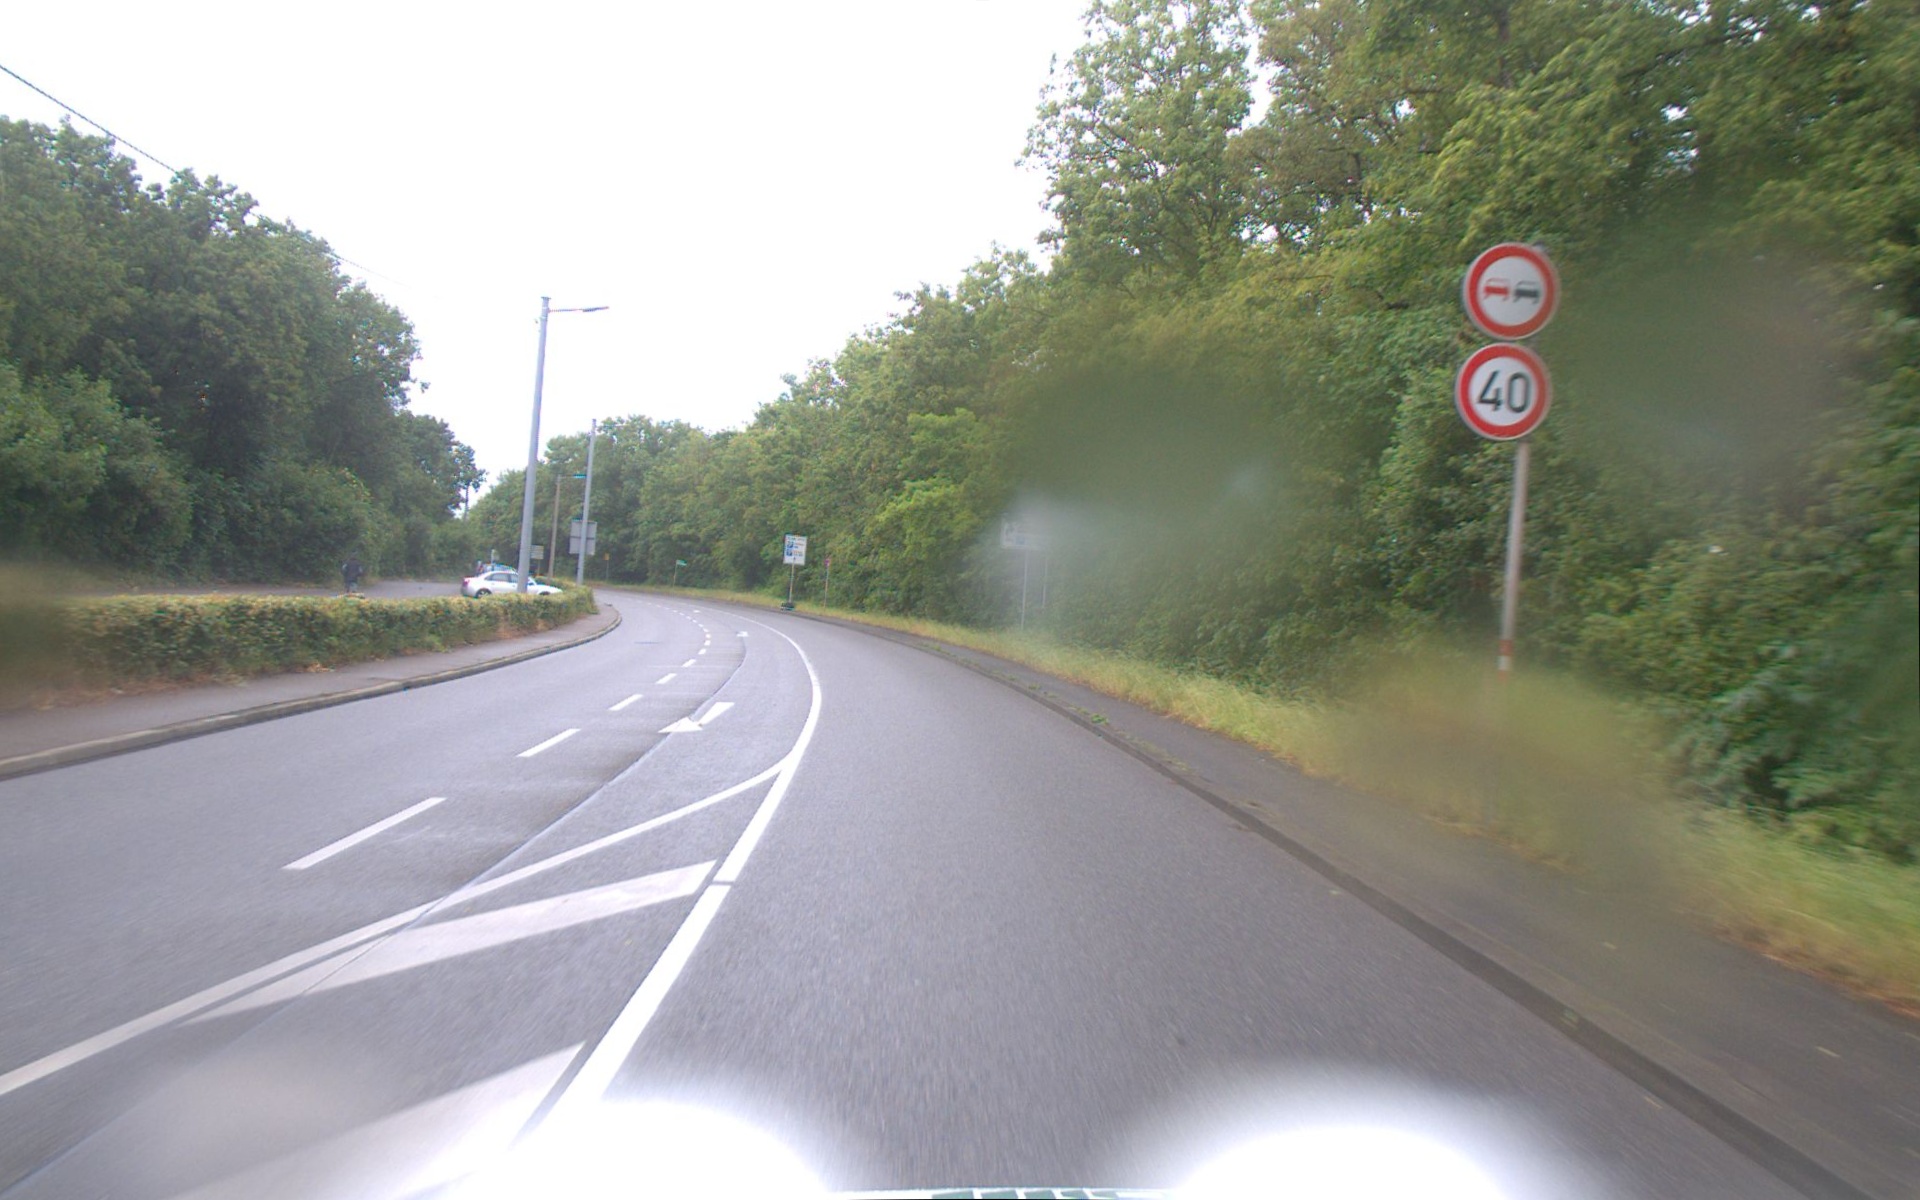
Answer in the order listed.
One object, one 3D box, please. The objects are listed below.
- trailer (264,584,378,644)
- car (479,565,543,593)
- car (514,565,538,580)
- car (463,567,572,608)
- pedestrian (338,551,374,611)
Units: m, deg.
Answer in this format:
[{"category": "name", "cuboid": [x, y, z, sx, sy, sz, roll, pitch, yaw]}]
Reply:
[{"category": "trailer", "cuboid": [-12.340, 0.264, 32.019, 1.768, 1.052, 1.331, 2, 0, -10]}, {"category": "car", "cuboid": [-31.846, -1.474, 117.377, 4.220, 1.738, 1.992, 3, 0, -15]}, {"category": "car", "cuboid": [-47.504, -3.059, 180.885, 1.909, 1.524, 4.287, 2, 0, -23]}, {"category": "car", "cuboid": [-19.515, -0.548, 72.886, 4.505, 1.532, 1.990, 3, 0, -18]}, {"category": "pedestrian", "cuboid": [-19.160, -0.601, 52.496, 0.802, 1.829, 1.133, 2, 0, -9]}]
